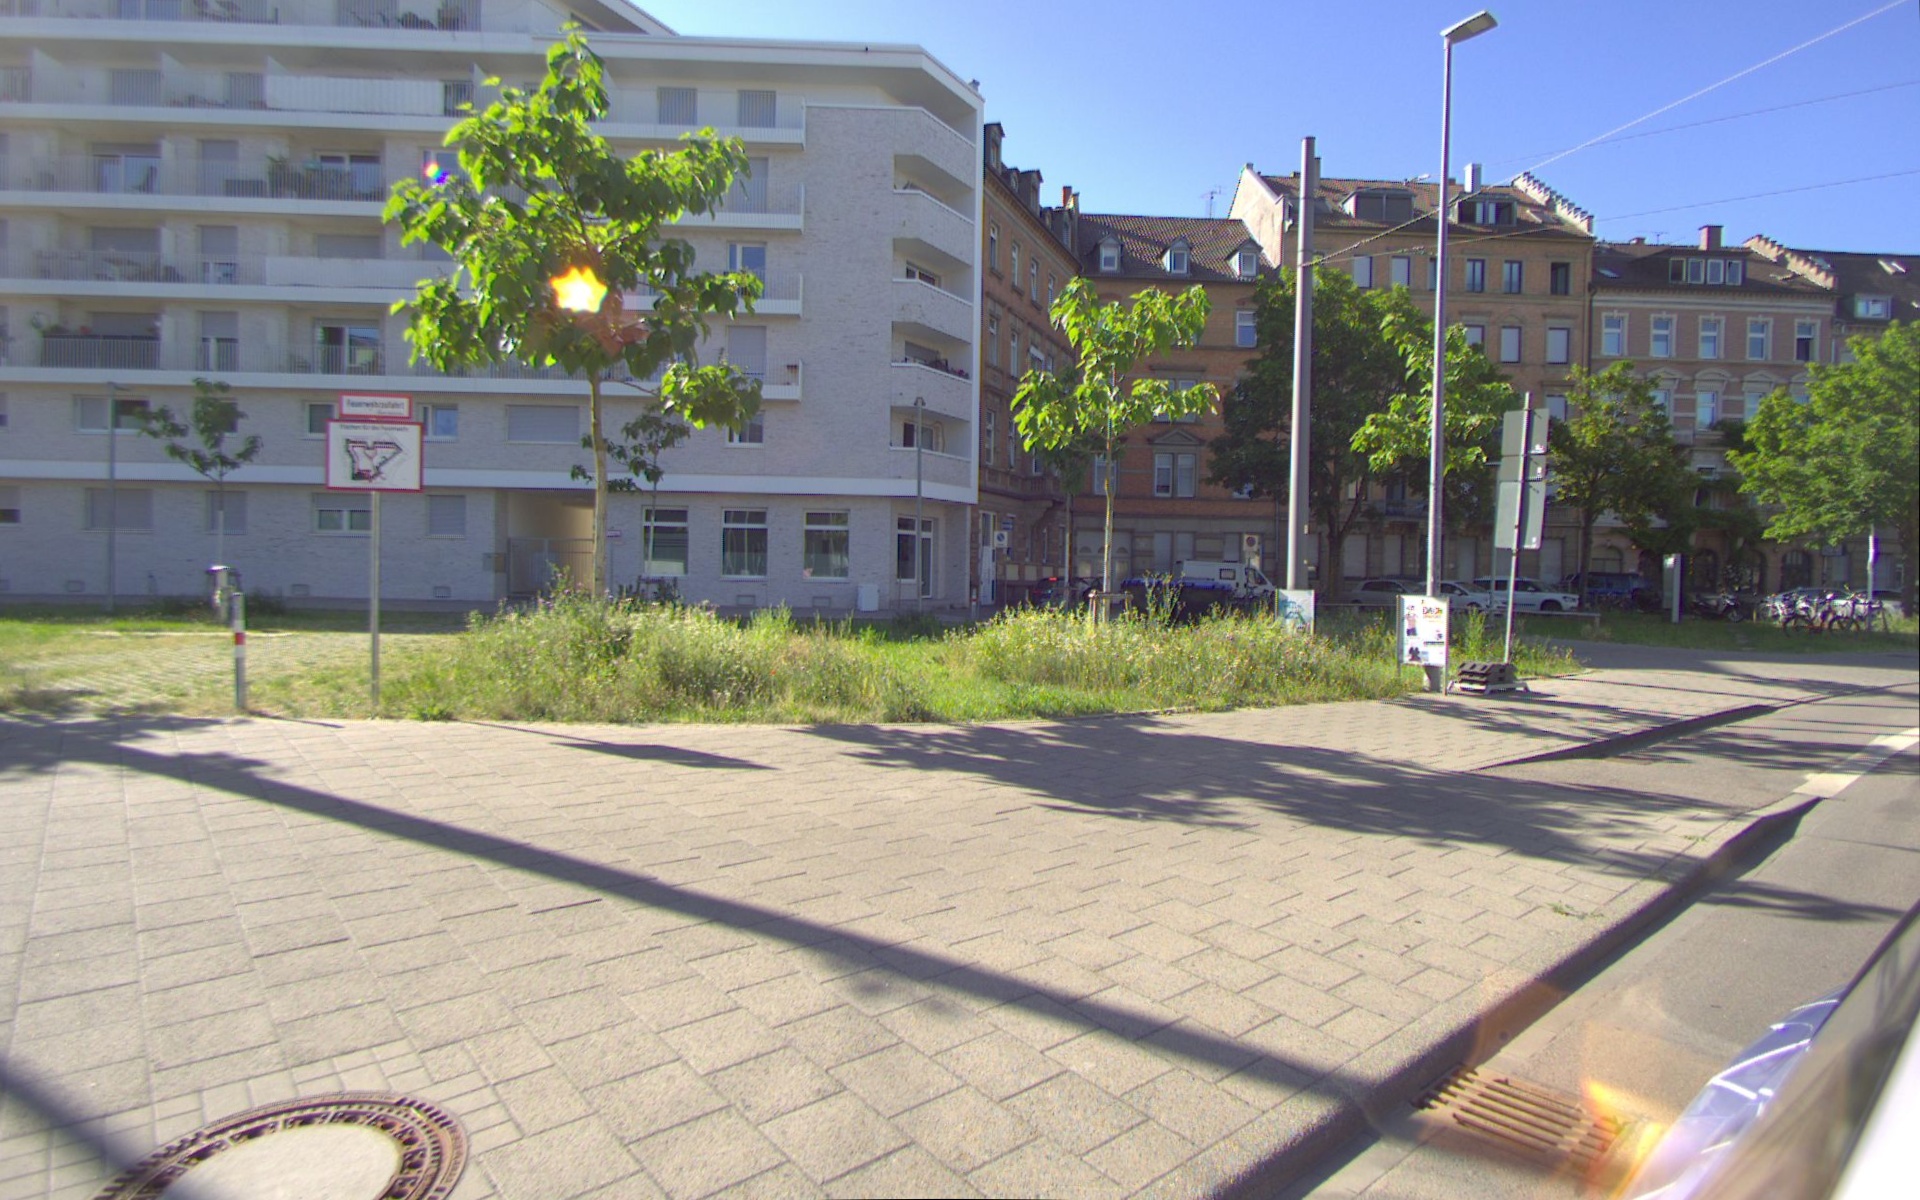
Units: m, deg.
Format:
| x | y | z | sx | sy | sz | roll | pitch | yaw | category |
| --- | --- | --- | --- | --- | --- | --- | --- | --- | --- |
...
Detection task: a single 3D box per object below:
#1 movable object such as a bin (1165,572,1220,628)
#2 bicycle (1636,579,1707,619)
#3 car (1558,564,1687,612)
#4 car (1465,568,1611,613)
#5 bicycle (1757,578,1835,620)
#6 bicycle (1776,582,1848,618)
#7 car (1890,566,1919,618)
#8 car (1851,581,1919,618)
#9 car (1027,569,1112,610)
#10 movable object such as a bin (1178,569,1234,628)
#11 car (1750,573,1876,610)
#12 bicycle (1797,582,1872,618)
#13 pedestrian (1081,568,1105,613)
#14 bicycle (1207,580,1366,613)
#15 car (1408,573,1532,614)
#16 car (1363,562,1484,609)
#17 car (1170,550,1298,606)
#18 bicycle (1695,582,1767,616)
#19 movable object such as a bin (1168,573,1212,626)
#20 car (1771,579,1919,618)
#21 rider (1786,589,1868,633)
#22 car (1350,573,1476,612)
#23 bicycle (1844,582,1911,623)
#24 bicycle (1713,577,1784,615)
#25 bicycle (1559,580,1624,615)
| x | y | z | sx | sy | sz | roll | pitch | yaw | category |
| --- | --- | --- | --- | --- | --- | --- | --- | --- | --- |
| 6.117 | -0.009 | 26.610 | 1.303 | 1.416 | 1.104 | 1 | 1 | 18 | movable object such as a bin |
| 25.831 | -0.055 | 36.805 | 0.771 | 1.416 | 2.104 | 0 | 1 | -13 | bicycle |
| 31.026 | -0.585 | 47.477 | 4.632 | 2.001 | 2.002 | 2 | 3 | -2 | car |
| 21.959 | -0.396 | 38.612 | 1.900 | 1.585 | 4.473 | 0 | 1 | -33 | car |
| 28.793 | -0.063 | 34.906 | 0.771 | 1.382 | 2.103 | 0 | 1 | -8 | bicycle |
| 30.612 | -0.014 | 36.409 | 0.825 | 1.206 | 1.966 | 1 | 3 | -3 | bicycle |
| 40.203 | -0.247 | 39.880 | 2.061 | 2.037 | 4.882 | -1 | 4 | -36 | car |
| 37.291 | -0.016 | 39.352 | 1.889 | 1.397 | 3.615 | 0 | 1 | -35 | car |
| 4.135 | -0.420 | 37.705 | 1.979 | 1.454 | 4.074 | 1 | 1 | 24 | car |
| 6.184 | -0.059 | 25.425 | 1.286 | 1.416 | 1.066 | 1 | 1 | 18 | movable object such as a bin |
| 40.804 | -0.421 | 48.479 | 4.422 | 1.547 | 2.003 | 1 | 3 | -6 | car |
| 31.514 | -0.007 | 36.506 | 0.882 | 1.195 | 1.953 | 0 | 3 | -3 | bicycle |
| 4.843 | -0.354 | 36.822 | 0.756 | 1.596 | 0.643 | 1 | 1 | -2 | pedestrian |
| 12.512 | -0.165 | 39.011 | 5.116 | 1.141 | 2.687 | 1 | 1 | -7 | bicycle |
| 19.217 | -0.274 | 38.266 | 1.726 | 1.459 | 3.846 | 0 | 1 | -33 | car |
| 21.648 | -0.698 | 47.392 | 4.632 | 2.001 | 2.002 | 2 | 3 | -2 | car |
| 12.530 | -1.036 | 46.577 | 5.087 | 2.386 | 2.359 | 2 | 3 | -1 | car |
| 28.159 | -0.059 | 37.023 | 0.806 | 1.173 | 2.172 | 1 | 1 | -6 | bicycle |
| 6.350 | -0.028 | 27.873 | 1.076 | 1.416 | 1.026 | 1 | 1 | 18 | movable object such as a bin |
| 34.561 | -0.087 | 39.030 | 2.007 | 1.397 | 4.753 | 0 | 2 | -35 | car |
| 24.499 | 0.301 | 28.618 | 1.652 | 1.191 | 0.501 | -2 | 0 | 15 | rider |
| 16.843 | -0.294 | 37.788 | 1.802 | 1.354 | 4.064 | 0 | 1 | -26 | car |
| 31.262 | 0.065 | 34.503 | 1.589 | 1.306 | 0.760 | 3 | 3 | 38 | bicycle |
| 29.055 | -0.168 | 37.348 | 0.771 | 1.382 | 2.103 | 1 | 1 | -8 | bicycle |
| 25.453 | -0.115 | 40.835 | 0.774 | 1.382 | 2.096 | 0 | 1 | -42 | bicycle |
